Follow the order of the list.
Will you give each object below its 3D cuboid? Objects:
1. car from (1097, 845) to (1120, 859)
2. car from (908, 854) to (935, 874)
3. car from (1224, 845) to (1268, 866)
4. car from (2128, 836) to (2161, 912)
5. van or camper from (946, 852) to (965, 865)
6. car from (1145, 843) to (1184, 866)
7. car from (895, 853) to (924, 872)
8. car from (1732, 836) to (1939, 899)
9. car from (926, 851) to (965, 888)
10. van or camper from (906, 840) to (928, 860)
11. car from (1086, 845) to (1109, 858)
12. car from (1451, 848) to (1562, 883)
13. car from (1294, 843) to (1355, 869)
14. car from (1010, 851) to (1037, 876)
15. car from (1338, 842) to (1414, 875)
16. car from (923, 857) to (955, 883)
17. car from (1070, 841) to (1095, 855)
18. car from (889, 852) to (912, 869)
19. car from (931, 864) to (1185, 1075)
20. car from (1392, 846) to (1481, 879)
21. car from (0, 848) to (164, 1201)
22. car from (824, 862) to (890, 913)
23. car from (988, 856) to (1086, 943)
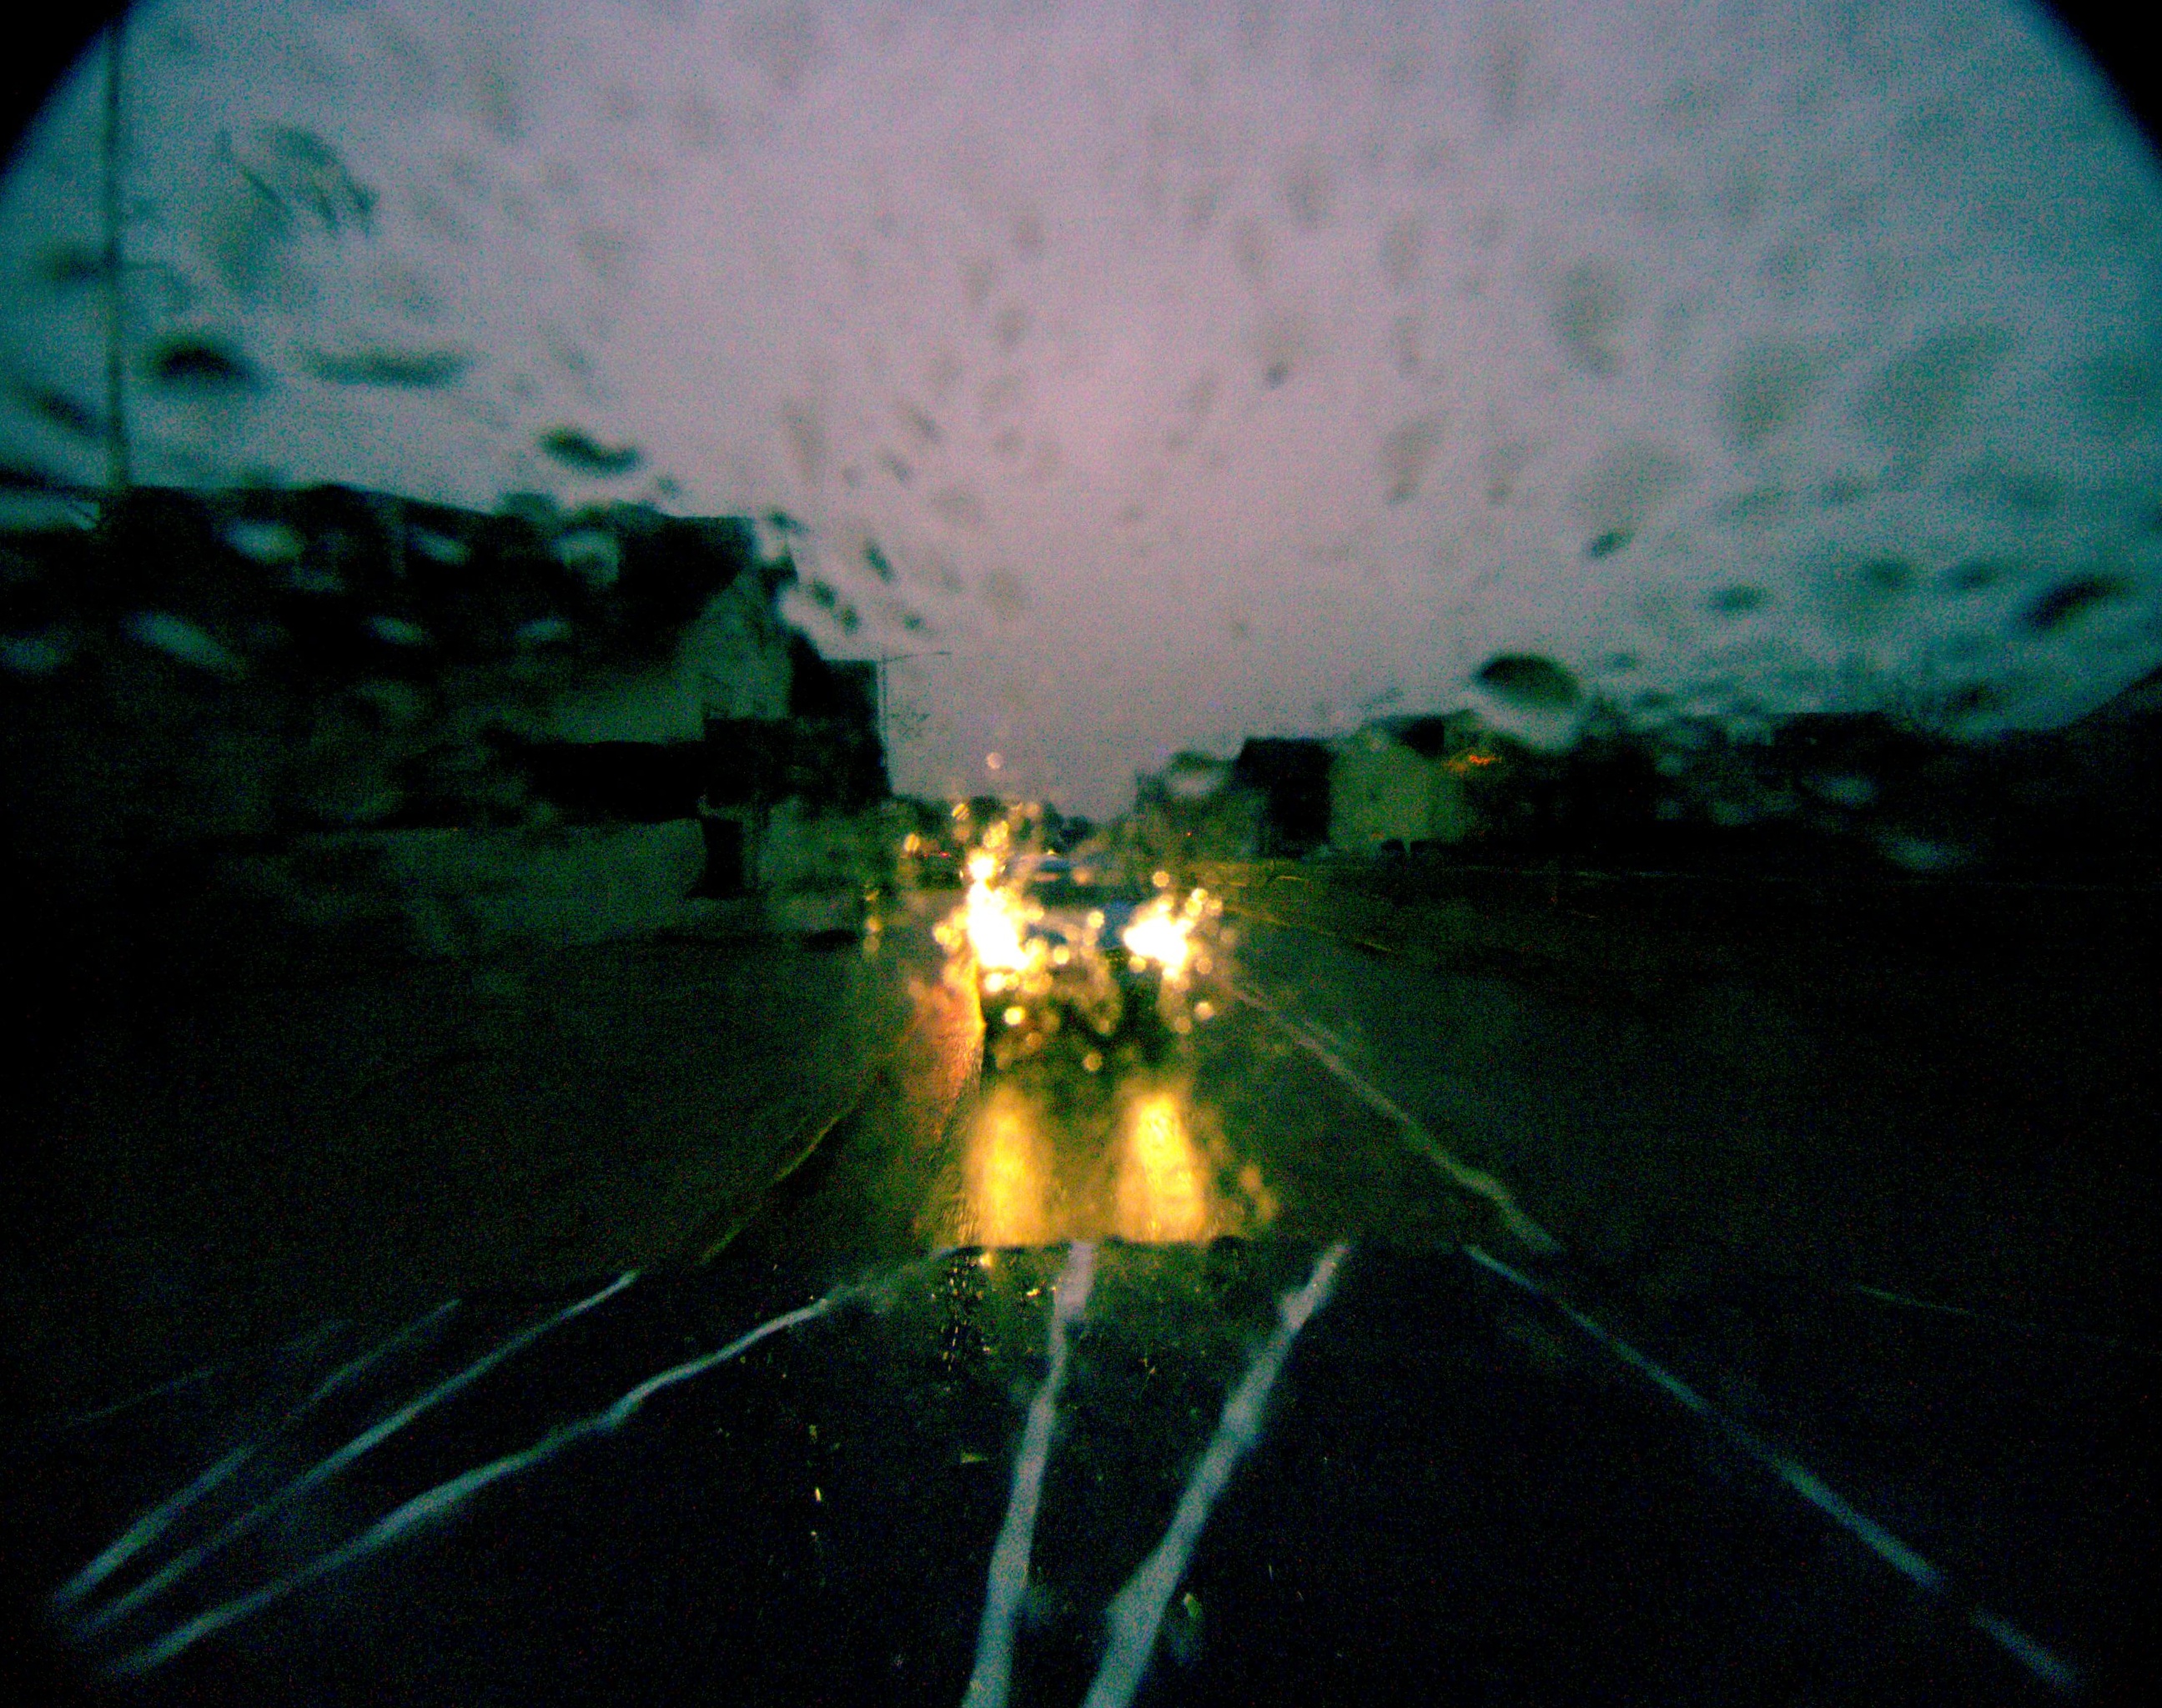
[{"bbox_3d":[3.465,-0.229,96.059,1.823,1.615,3.979,-5,1,-14],"label":"car"},{"bbox_3d":[-12.443,0.764,59.056,1.659,1.446,4.231,0,0,-17],"label":"car"},{"bbox_3d":[13.111,0.094,60.621,1.775,1.515,4.026,-2,1,-14],"label":"car"},{"bbox_3d":[21.398,0.382,13.222,1.487,1.419,3.457,-2,1,-6],"label":"car"},{"bbox_3d":[-13.900,0.467,83.932,1.568,1.347,3.416,-1,0,-19],"label":"van or camper"},{"bbox_3d":[6.814,-0.020,62.557,1.806,1.793,3.854,-2,1,-17],"label":"car"},{"bbox_3d":[-15.660,0.740,69.231,1.964,1.524,5.000,-4,2,-19],"label":"car"},{"bbox_3d":[20.559,0.305,20.950,1.570,1.571,3.816,0,1,-10],"label":"car"},{"bbox_3d":[-6.736,0.728,37.923,1.775,1.771,3.996,1,0,-10],"label":"car"},{"bbox_3d":[-22.792,-0.484,105.576,2.249,2.653,6.544,-1,0,-19],"label":"van or camper"},{"bbox_3d":[2.180,-0.323,100.740,1.903,1.509,3.994,-5,3,-14],"label":"car"},{"bbox_3d":[18.732,0.484,33.712,1.880,1.425,4.497,0,0,-10],"label":"car"},{"bbox_3d":[15.751,0.125,49.333,1.881,1.589,4.220,0,0,-12],"label":"car"},{"bbox_3d":[-3.878,0.617,51.316,1.742,1.643,3.998,-1,0,-4],"label":"car"},{"bbox_3d":[16.864,0.251,43.696,1.881,1.768,4.496,0,0,-12],"label":"car"},{"bbox_3d":[-8.172,0.882,43.550,1.651,1.407,2.724,1,0,-14],"label":"car"},{"bbox_3d":[0.143,-0.842,107.981,2.001,1.894,4.350,-5,2,-21],"label":"car"},{"bbox_3d":[-17.999,0.625,75.673,1.671,1.567,4.489,-2,1,-19],"label":"car"},{"bbox_3d":[-0.354,0.964,8.236,1.999,1.526,3.998,-4,0,-5],"label":"car"},{"bbox_3d":[17.958,0.404,38.635,1.880,1.563,4.497,0,0,-10],"label":"car"},{"bbox_3d":[-7.121,0.664,3.054,4.189,1.629,1.802,5,0,-7],"label":"car"},{"bbox_3d":[-6.988,0.969,23.476,1.772,1.385,3.907,0,0,-19],"label":"car"},{"bbox_3d":[-1.009,0.904,17.172,1.907,1.630,4.564,1,1,-4],"label":"car"}]
